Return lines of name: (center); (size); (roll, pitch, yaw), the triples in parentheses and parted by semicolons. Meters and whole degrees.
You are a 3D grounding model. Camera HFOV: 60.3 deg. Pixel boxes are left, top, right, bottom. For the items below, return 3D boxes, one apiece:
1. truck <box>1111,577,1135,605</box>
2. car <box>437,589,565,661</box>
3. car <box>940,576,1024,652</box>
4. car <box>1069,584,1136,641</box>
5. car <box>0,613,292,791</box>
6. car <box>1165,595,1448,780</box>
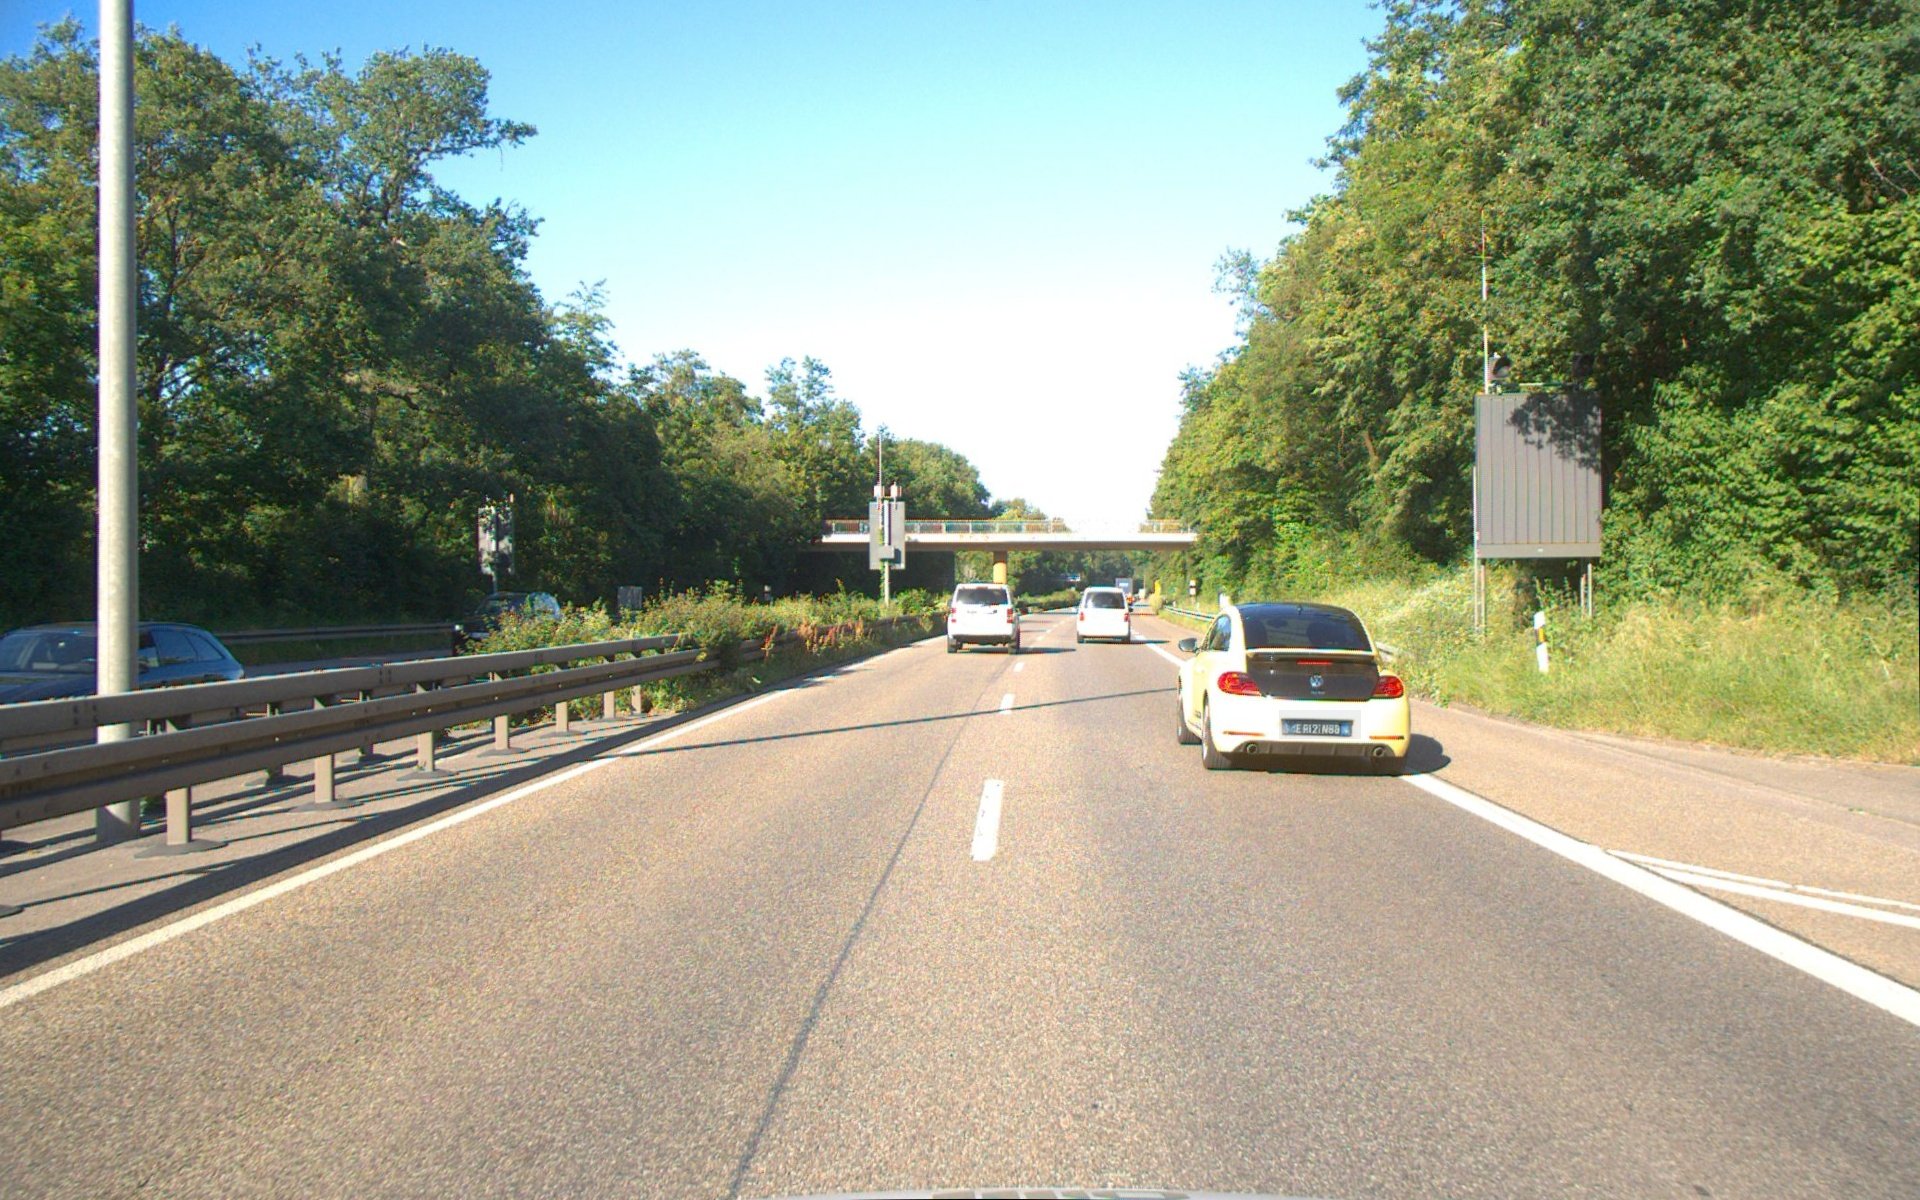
truck: (24.761, -1.358, 250.931); (3.421, 4.246, 8.868); (0, 0, 6)
car: (-11.838, 0.596, 42.981); (1.920, 1.754, 4.745); (0, 0, 1)
car: (0.627, 0.347, 43.503); (2.042, 1.860, 4.002); (1, 0, 3)
car: (4.683, 0.388, 54.830); (1.825, 1.801, 4.469); (-1, 0, 0)
car: (-8.888, 0.918, 17.066); (1.920, 1.492, 4.877); (0, 0, 1)
car: (3.130, 0.714, 15.836); (1.841, 1.487, 4.356); (1, 0, 1)
